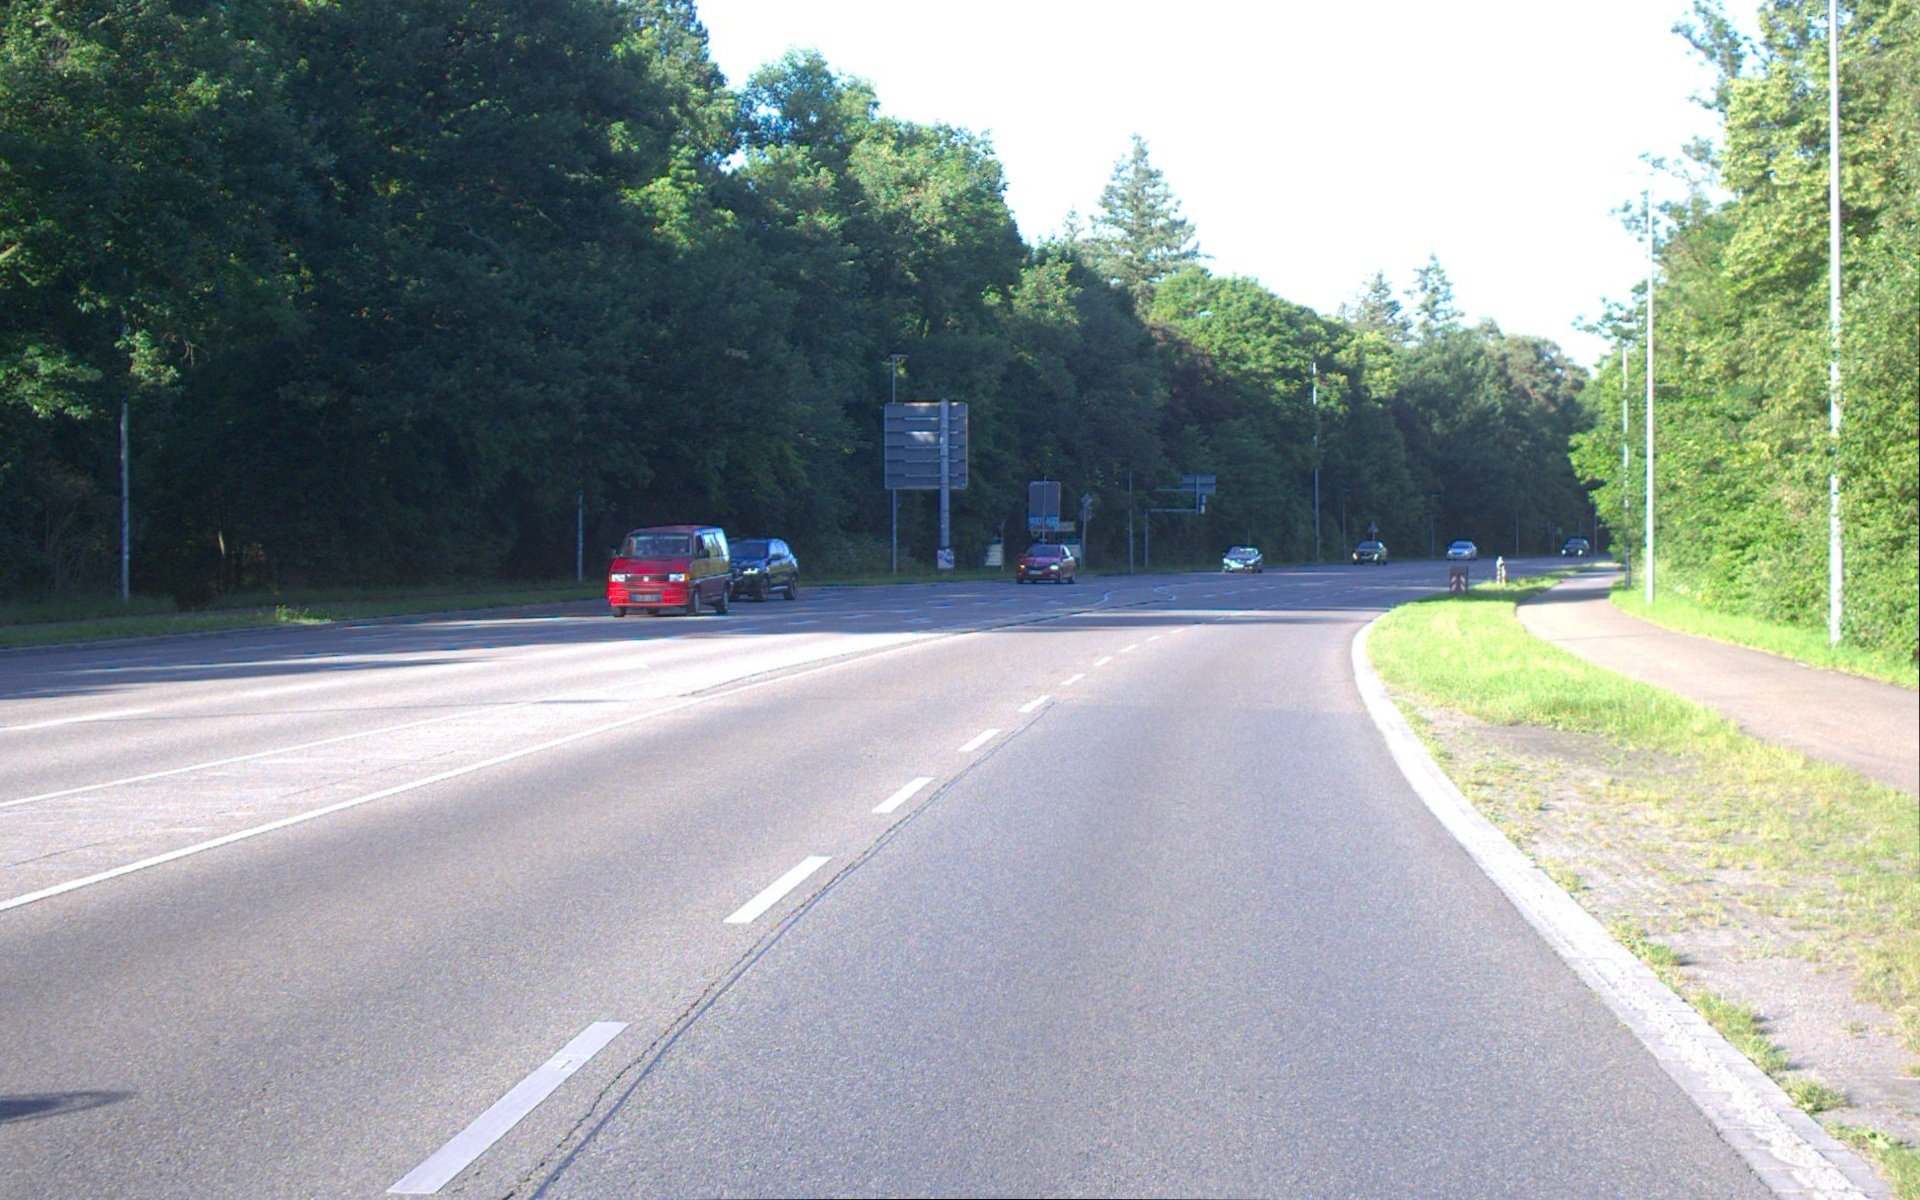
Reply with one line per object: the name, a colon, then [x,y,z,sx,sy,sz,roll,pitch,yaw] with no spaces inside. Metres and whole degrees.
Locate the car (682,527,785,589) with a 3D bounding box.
car: [-6.086,-1.153,92.827,1.994,1.631,4.843,0,1,6]

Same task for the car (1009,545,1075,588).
car: [3.081,-1.268,128.671,1.994,1.558,4.337,0,1,8]

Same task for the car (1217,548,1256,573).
car: [14.001,-2.030,173.941,1.744,1.230,4.672,0,1,8]

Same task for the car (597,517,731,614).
car: [-6.316,-0.752,73.816,1.994,1.955,4.647,-1,1,6]
